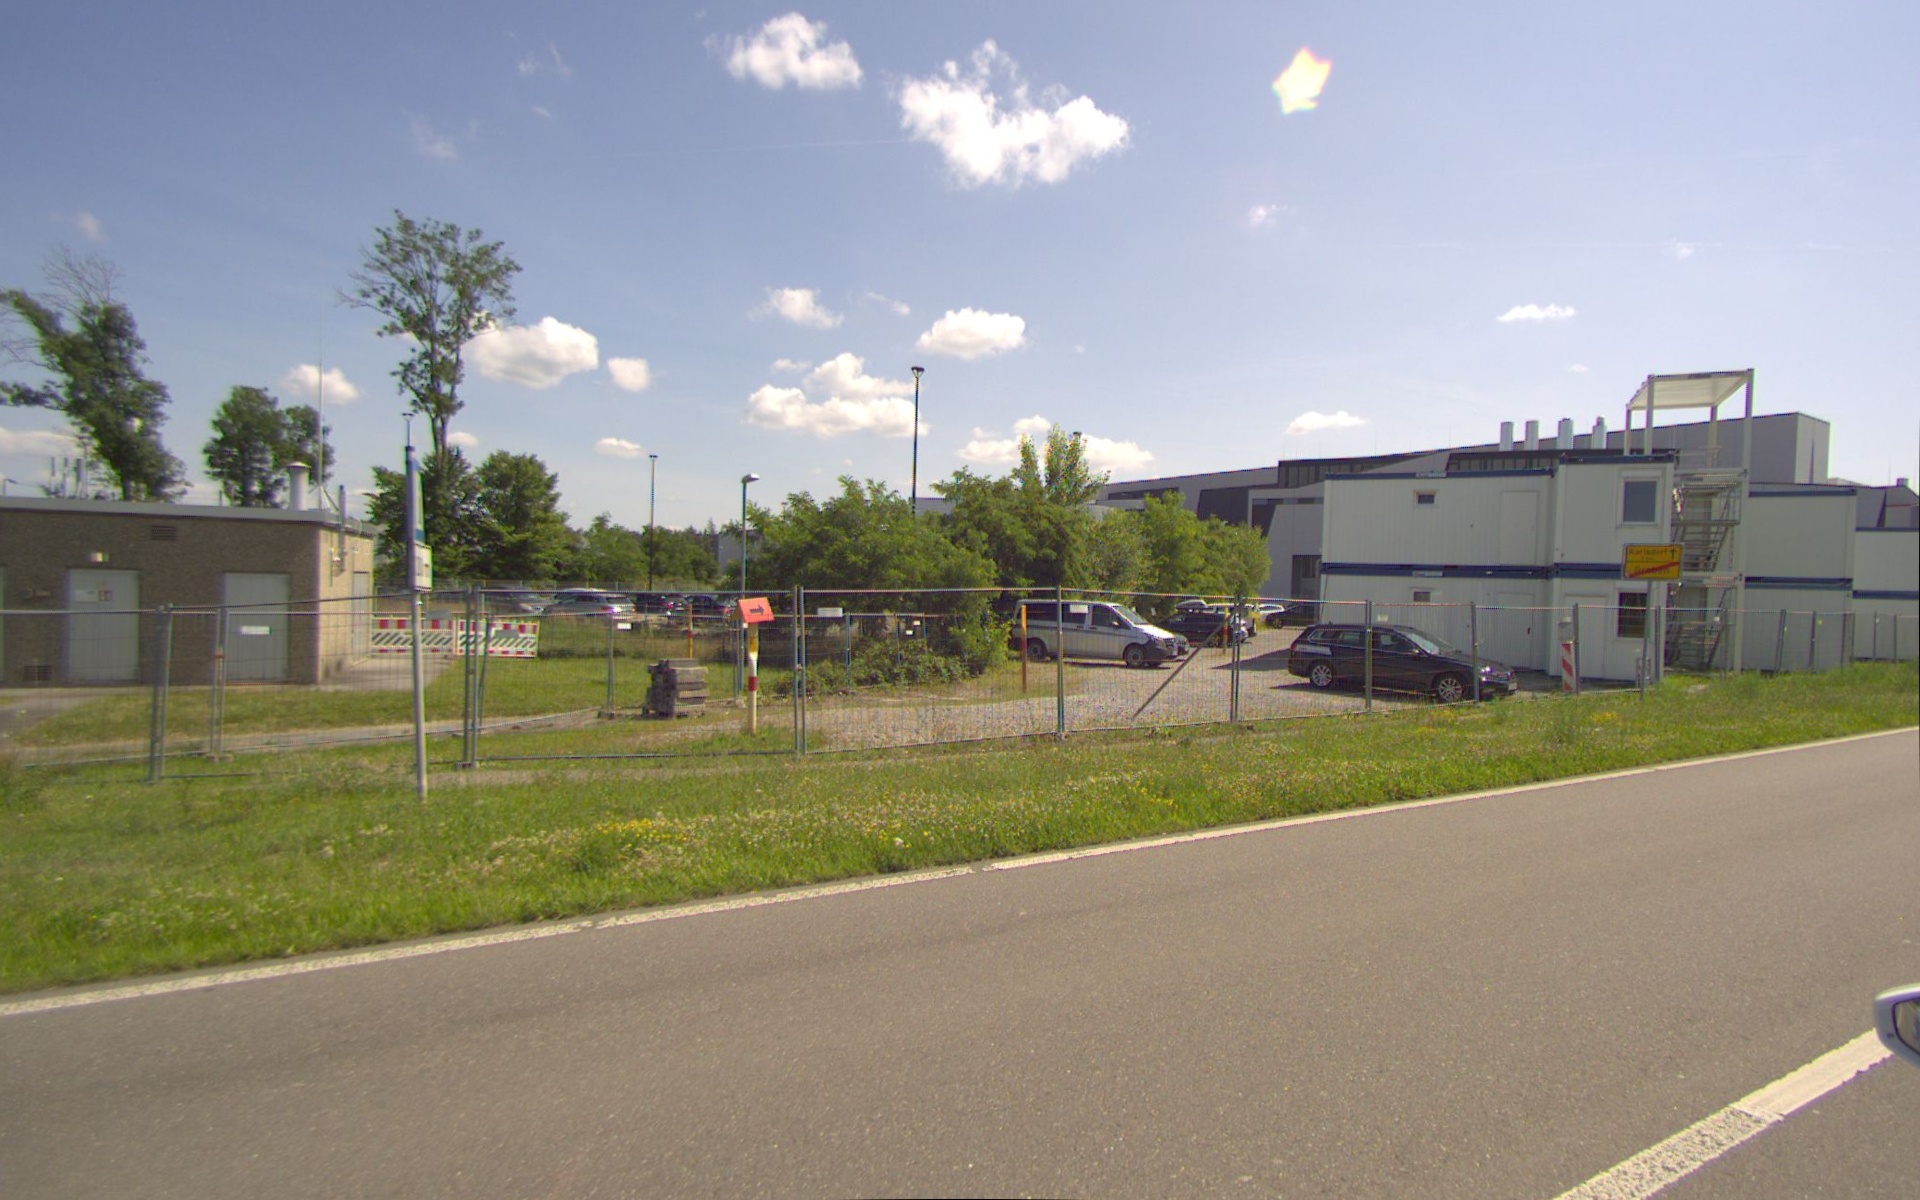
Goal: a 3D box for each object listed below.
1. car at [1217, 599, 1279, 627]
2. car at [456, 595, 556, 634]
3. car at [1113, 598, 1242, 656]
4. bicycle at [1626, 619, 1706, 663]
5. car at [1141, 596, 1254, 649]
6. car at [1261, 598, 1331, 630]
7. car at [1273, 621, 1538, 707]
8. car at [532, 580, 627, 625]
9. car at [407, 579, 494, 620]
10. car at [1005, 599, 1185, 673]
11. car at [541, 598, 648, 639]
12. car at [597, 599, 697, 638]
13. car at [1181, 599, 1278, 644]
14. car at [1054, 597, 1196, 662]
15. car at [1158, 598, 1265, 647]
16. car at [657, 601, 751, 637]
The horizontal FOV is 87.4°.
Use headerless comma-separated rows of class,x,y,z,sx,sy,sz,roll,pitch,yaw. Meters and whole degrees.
car,21.402,0.937,74.644,4.230,1.892,1.999,2,1,21
car,-20.005,0.644,44.283,3.926,1.574,1.998,1,0,27
car,8.016,0.945,37.037,4.234,1.892,1.997,2,1,27
bicycle,22.700,1.311,32.350,2.008,1.318,0.608,1,0,27
car,10.059,0.910,42.557,4.234,1.974,1.997,2,1,27
car,22.148,0.868,66.190,4.230,1.892,1.999,2,1,21
car,9.595,1.297,21.982,1.986,1.436,4.922,0,1,-43
car,-18.327,0.131,48.404,3.922,2.040,1.999,1,0,22
car,-26.792,-0.039,52.835,3.922,2.040,1.999,1,0,22
car,4.013,0.992,30.094,4.929,1.892,1.997,2,1,27
car,-15.197,0.740,41.765,3.926,1.574,1.998,1,0,27
car,-13.865,0.802,44.513,3.926,1.574,1.998,1,0,27
car,12.686,0.996,47.298,4.227,1.892,2.000,2,1,16
car,5.481,0.926,33.434,4.234,1.892,1.997,2,1,27
car,11.231,0.956,44.814,4.234,1.974,1.997,2,1,27
car,-12.092,0.876,47.411,3.926,1.574,1.998,1,0,27
